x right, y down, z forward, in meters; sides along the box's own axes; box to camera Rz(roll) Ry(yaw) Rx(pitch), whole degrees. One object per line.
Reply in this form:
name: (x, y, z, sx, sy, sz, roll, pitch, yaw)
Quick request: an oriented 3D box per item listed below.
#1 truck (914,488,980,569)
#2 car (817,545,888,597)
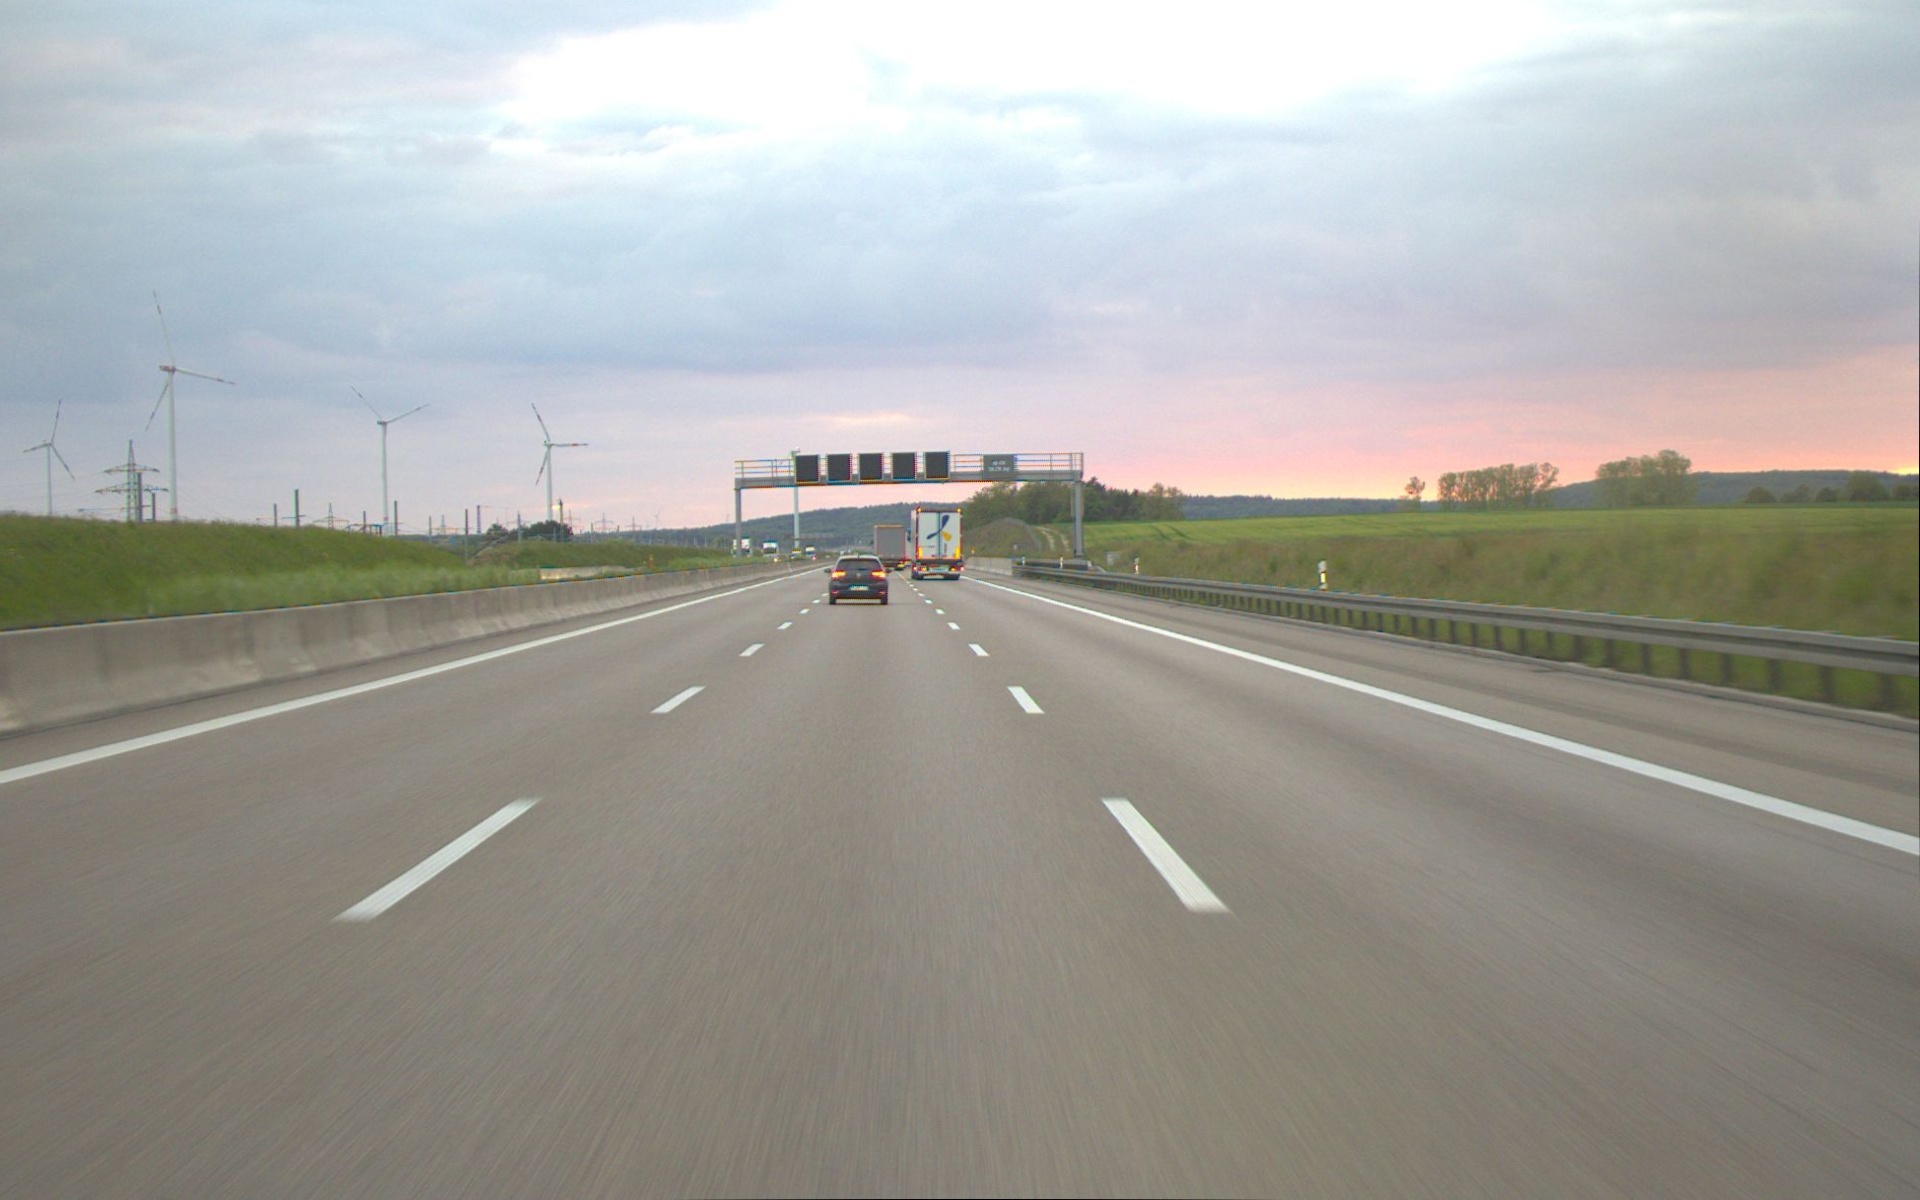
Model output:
truck: (-0.811, -4.102, 198.273, 3.675, 4.549, 10.982, 0, 1, -1)
car: (-3.136, -0.875, 100.696, 1.987, 1.425, 4.000, -1, 1, -1)
